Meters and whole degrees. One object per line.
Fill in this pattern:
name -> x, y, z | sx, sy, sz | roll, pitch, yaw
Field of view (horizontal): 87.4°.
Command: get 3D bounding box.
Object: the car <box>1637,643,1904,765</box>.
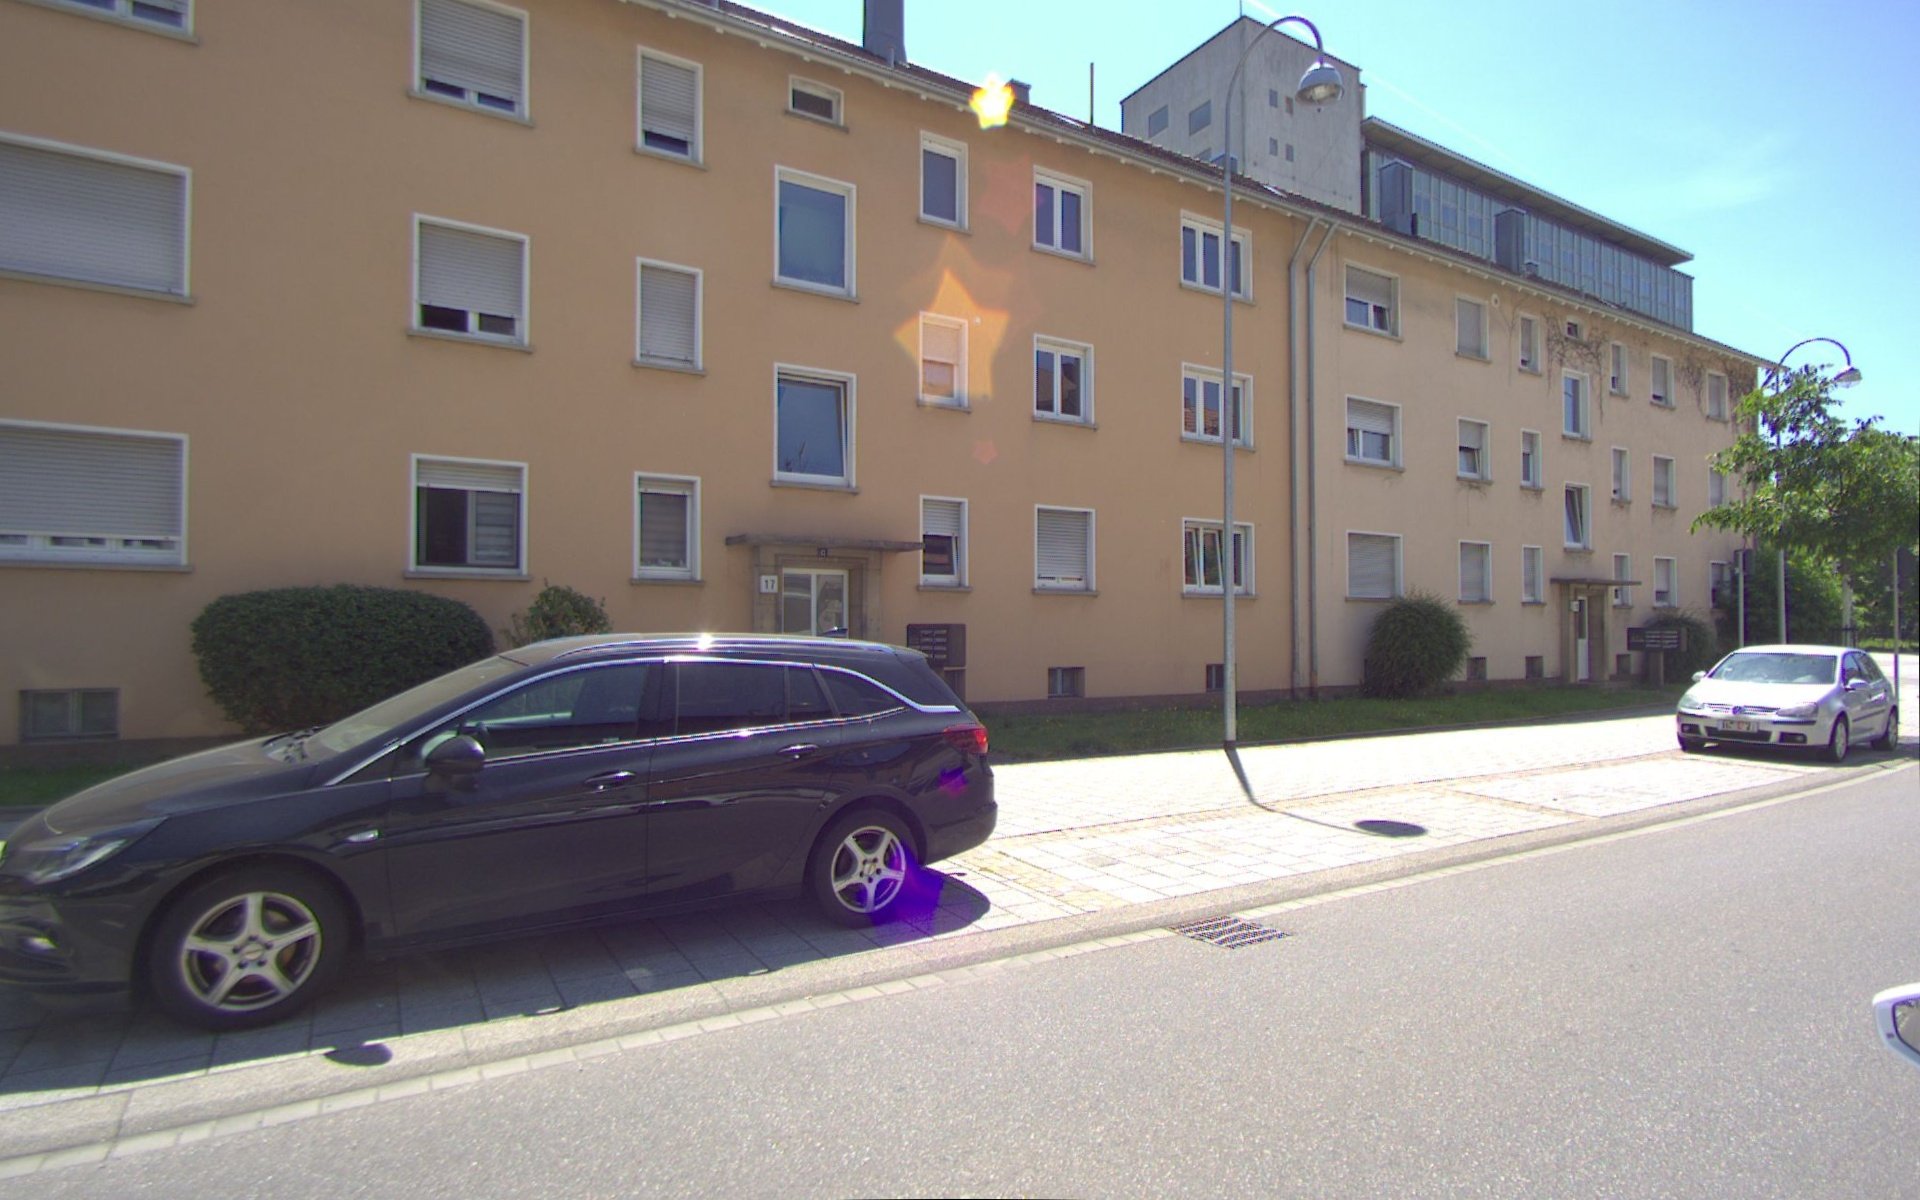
car -> 11.514, 1.360, 14.211 | 4.049, 1.439, 1.980 | 2, -2, -36

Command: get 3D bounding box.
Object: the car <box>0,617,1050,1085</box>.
car -> -1.873, 0.890, 5.330 | 4.513, 1.527, 1.846 | 1, 0, -33
